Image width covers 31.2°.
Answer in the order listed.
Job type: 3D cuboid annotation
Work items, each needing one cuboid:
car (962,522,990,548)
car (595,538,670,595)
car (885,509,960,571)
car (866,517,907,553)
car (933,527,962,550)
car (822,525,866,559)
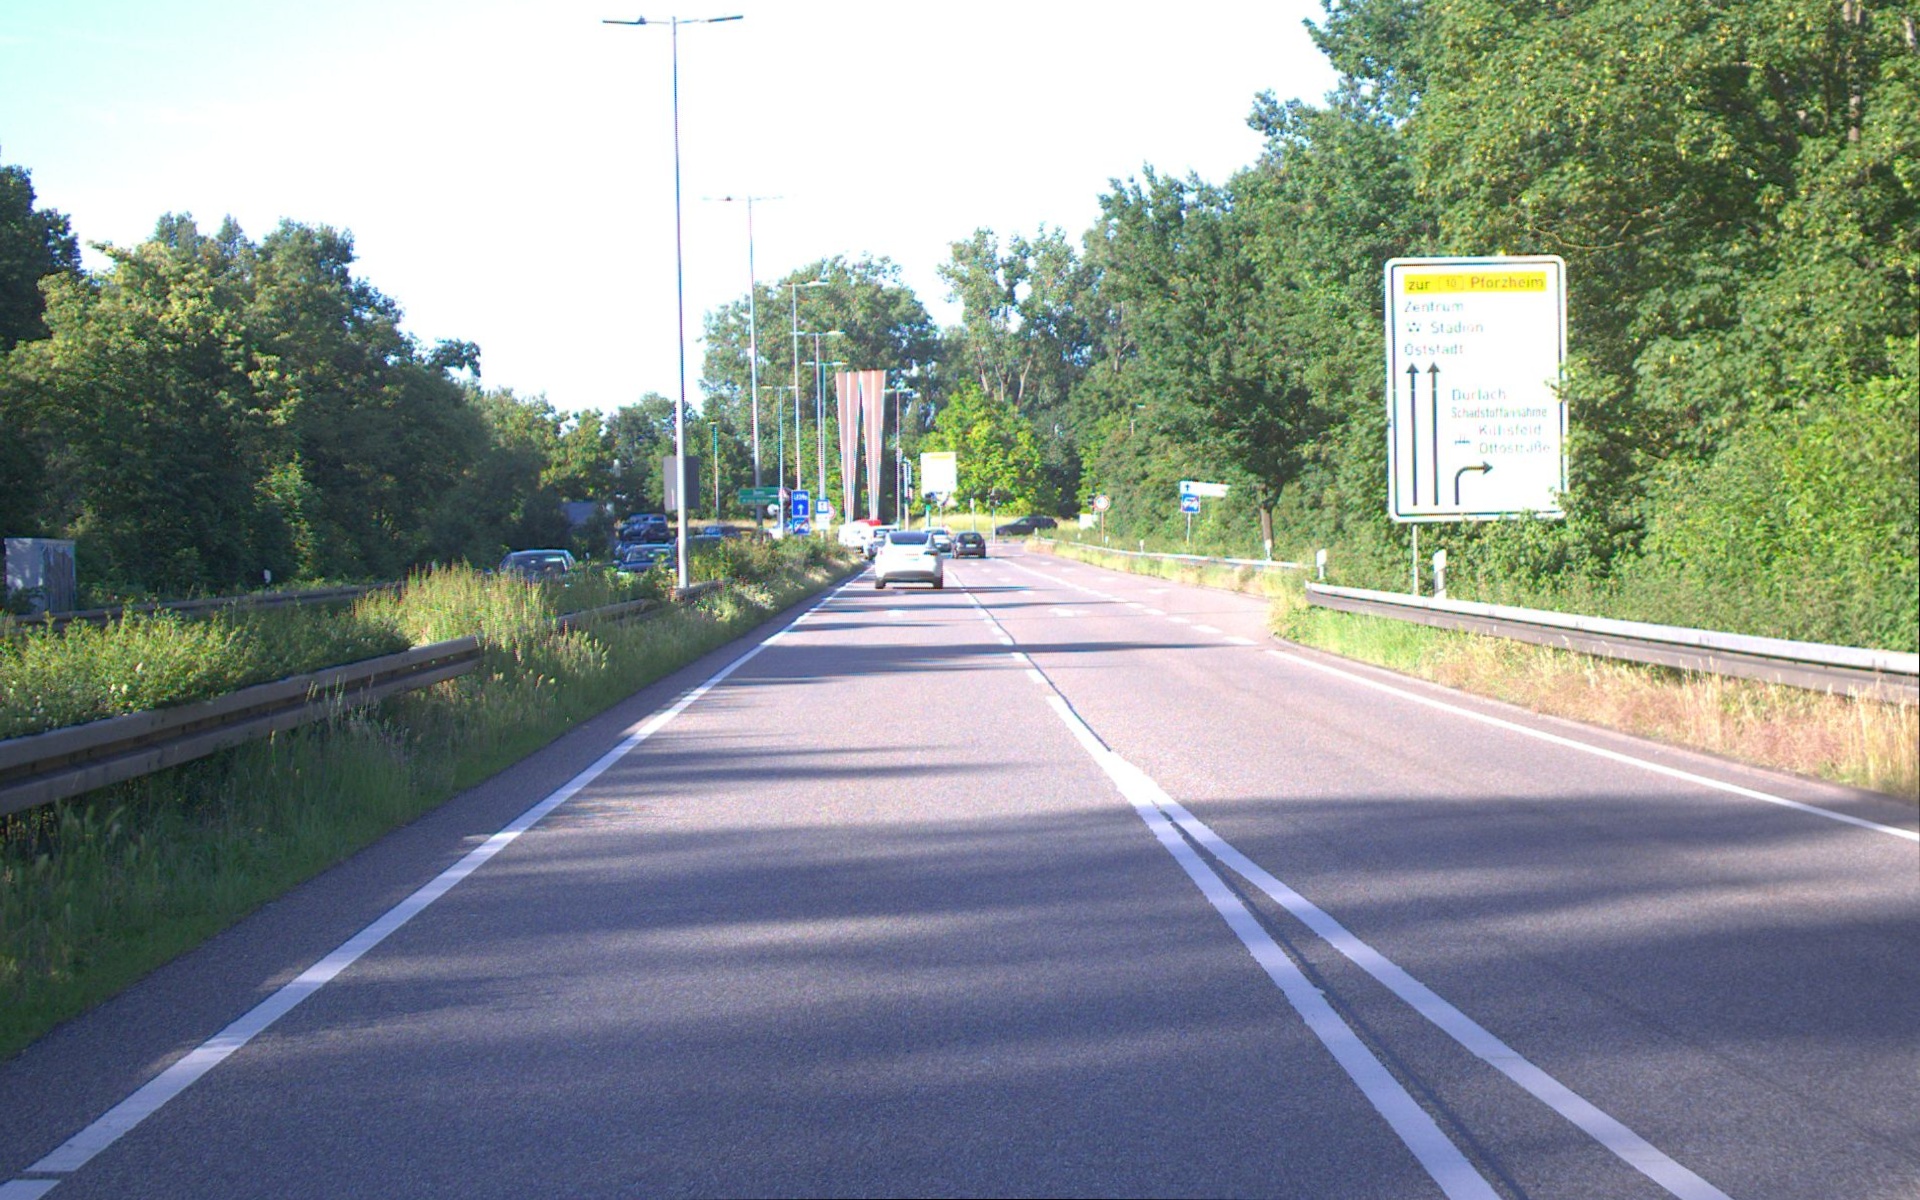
[{"bbox_3d":[0.852,-3.446,183.033,1.388,1.276,2.987,1,0,-1],"label":"car"},{"bbox_3d":[-9.432,-0.990,99.253,1.618,1.525,4.608,-2,1,1],"label":"car"},{"bbox_3d":[-1.078,-1.716,97.742,1.993,1.634,4.129,-2,2,-2],"label":"car"},{"bbox_3d":[-4.066,-3.608,190.060,1.993,1.873,4.250,-2,2,-4],"label":"car"},{"bbox_3d":[-0.752,-3.619,201.926,1.624,1.276,2.987,1,0,-1],"label":"car"},{"bbox_3d":[-7.083,-3.521,209.664,1.993,2.007,4.001,1,0,-12],"label":"car"}]
